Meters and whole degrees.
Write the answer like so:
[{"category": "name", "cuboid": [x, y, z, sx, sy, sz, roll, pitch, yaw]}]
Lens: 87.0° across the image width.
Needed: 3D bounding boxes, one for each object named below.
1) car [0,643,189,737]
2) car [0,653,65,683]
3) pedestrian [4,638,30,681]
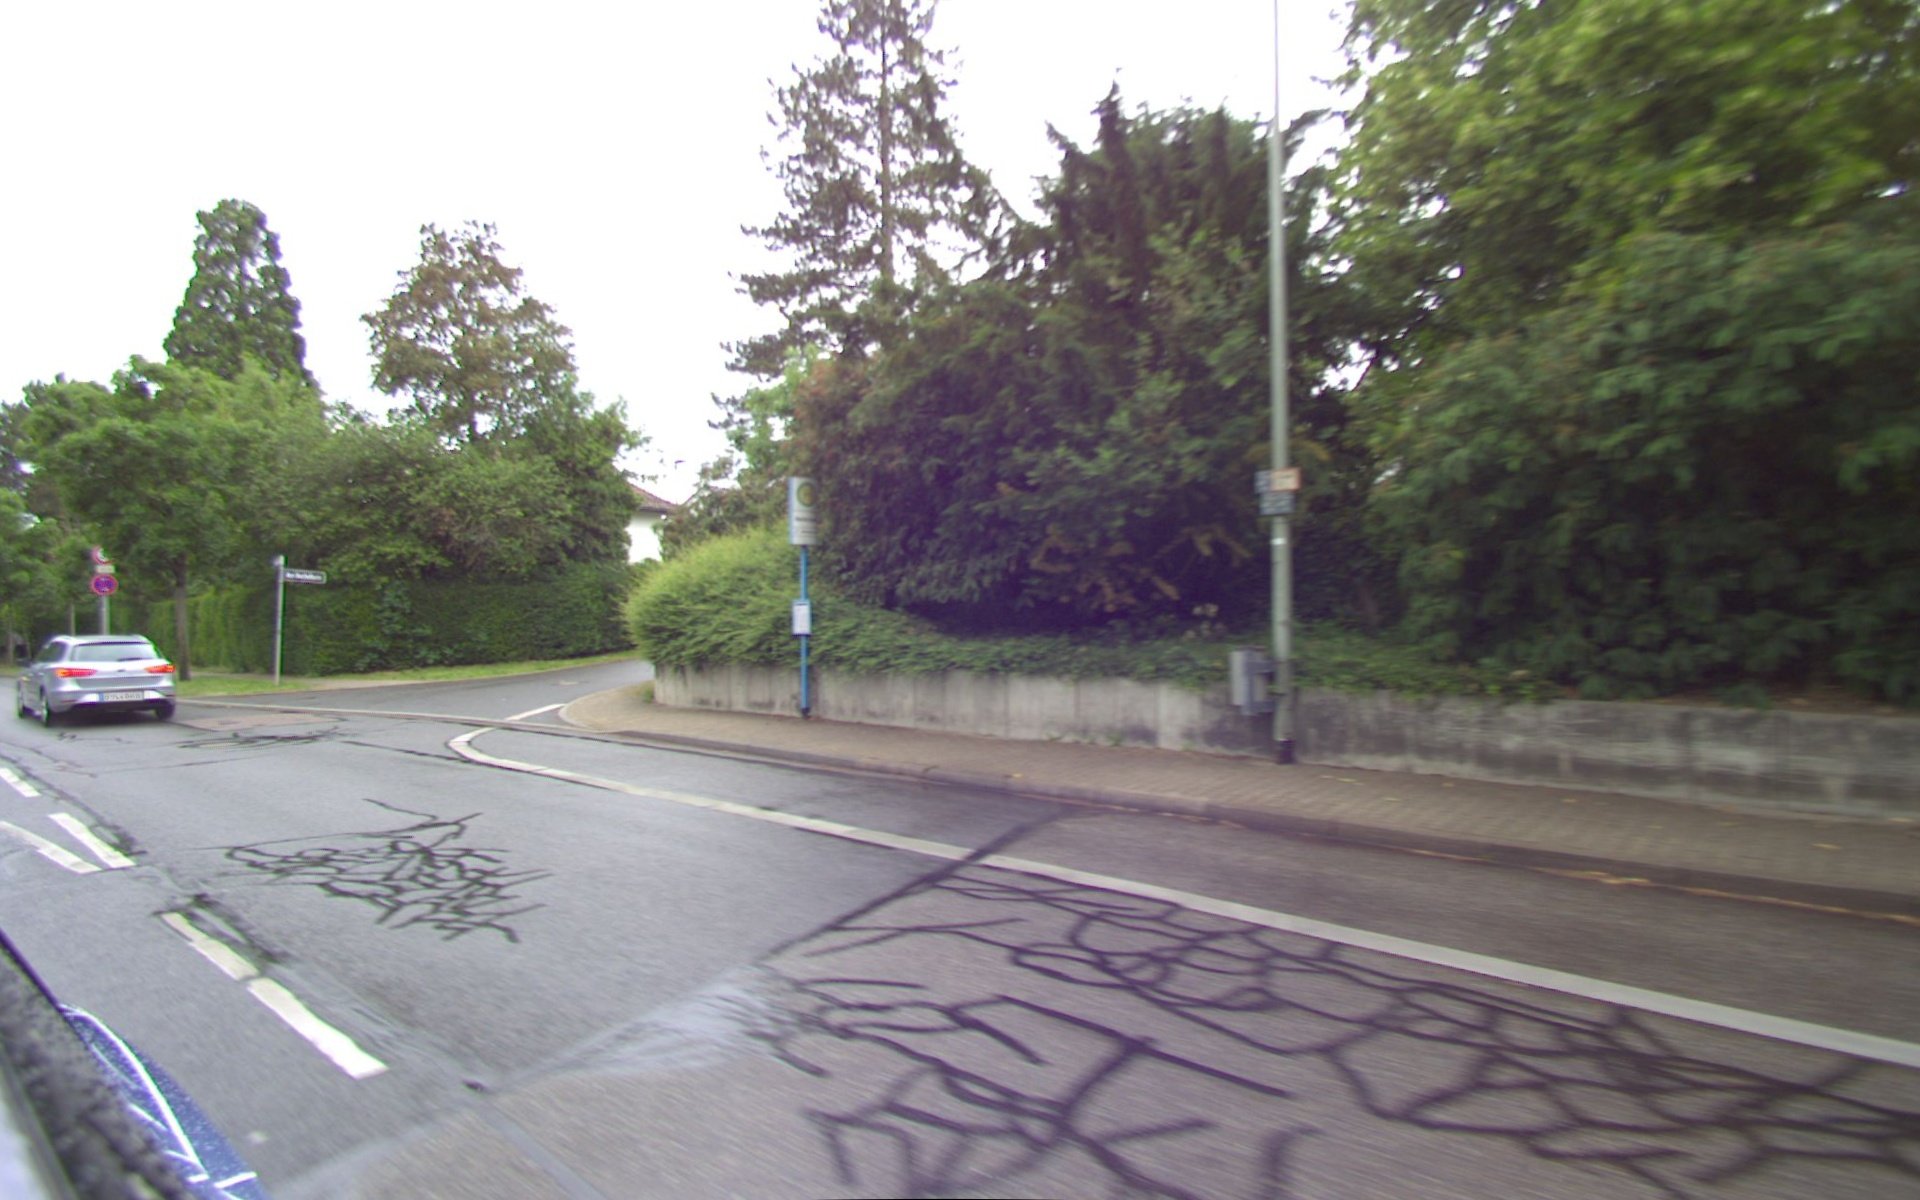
[{"category": "car", "cuboid": [-15.099, 1.478, 17.574, 4.355, 1.433, 1.772, -3, -4, 40]}, {"category": "car", "cuboid": [-56.344, 4.078, 60.601, 1.814, 1.598, 3.818, -3, -1, 35]}, {"category": "pedestrian", "cuboid": [-42.391, 2.663, 45.470, 0.881, 1.844, 0.703, -3, 1, 44]}]
